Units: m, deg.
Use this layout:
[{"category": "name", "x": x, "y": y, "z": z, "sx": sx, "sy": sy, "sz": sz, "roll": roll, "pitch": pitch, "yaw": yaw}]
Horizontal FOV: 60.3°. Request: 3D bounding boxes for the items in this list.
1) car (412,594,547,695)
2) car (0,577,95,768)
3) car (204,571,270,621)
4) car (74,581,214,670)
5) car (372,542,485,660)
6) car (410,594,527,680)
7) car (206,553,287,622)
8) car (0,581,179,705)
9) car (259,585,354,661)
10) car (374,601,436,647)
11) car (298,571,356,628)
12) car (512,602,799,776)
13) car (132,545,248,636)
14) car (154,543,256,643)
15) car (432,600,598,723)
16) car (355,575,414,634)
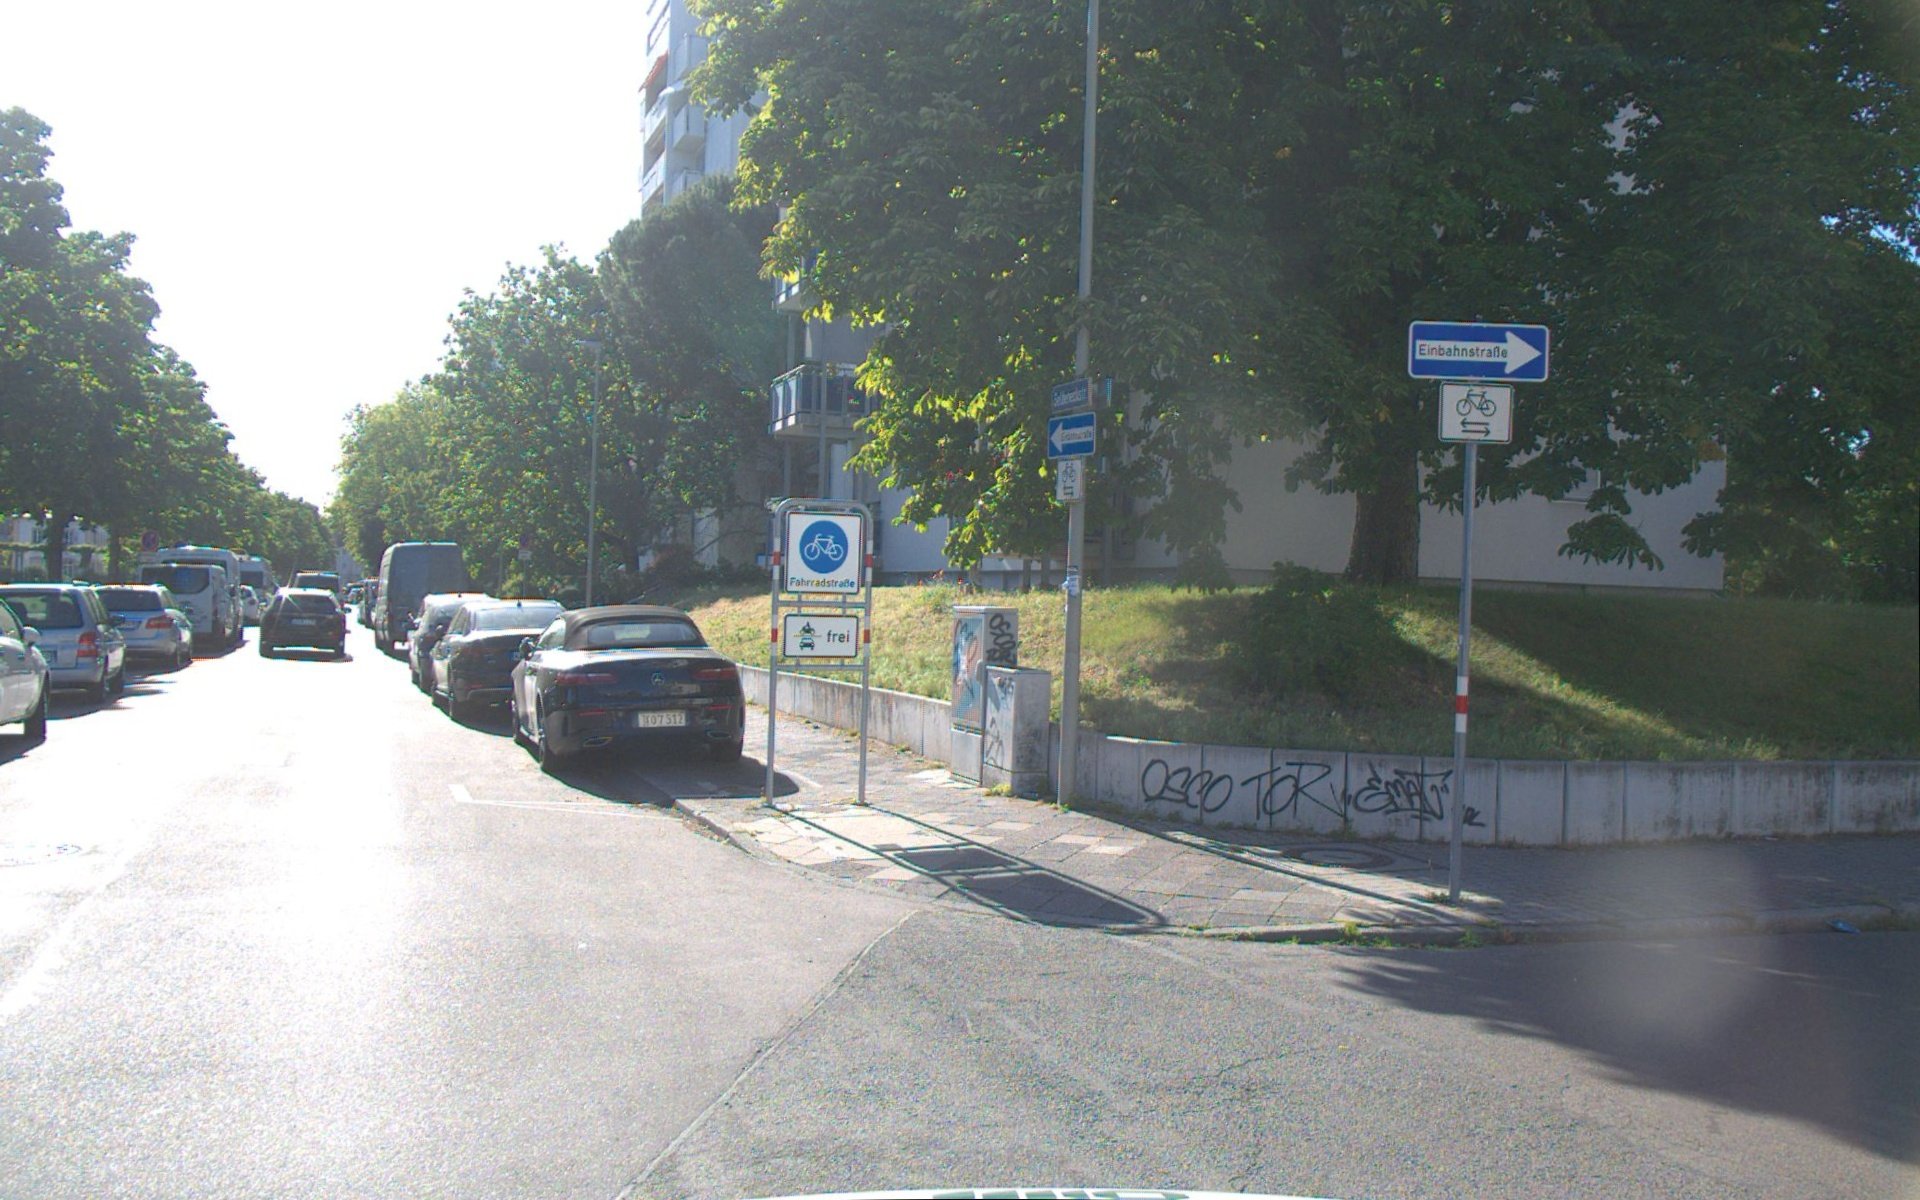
[{"category": "car", "x": -8.021, "y": 0.687, "z": 27.370, "sx": 1.754, "sy": 1.513, "sz": 4.005, "roll": 2, "pitch": 0, "yaw": -22}, {"category": "car", "x": -8.992, "y": 0.587, "z": 14.702, "sx": 1.750, "sy": 1.521, "sz": 3.853, "roll": 0, "pitch": 0, "yaw": -19}, {"category": "car", "x": -27.639, "y": -0.153, "z": 63.328, "sx": 1.980, "sy": 1.817, "sz": 4.103, "roll": 1, "pitch": 0, "yaw": -19}, {"category": "car", "x": -15.277, "y": 0.441, "z": 31.162, "sx": 1.806, "sy": 1.526, "sz": 4.103, "roll": 2, "pitch": 0, "yaw": -19}, {"category": "car", "x": -13.390, "y": 0.013, "z": 41.458, "sx": 2.134, "sy": 2.736, "sz": 5.377, "roll": 2, "pitch": 0, "yaw": -23}, {"category": "car", "x": -9.606, "y": 0.682, "z": 32.148, "sx": 1.959, "sy": 1.513, "sz": 4.103, "roll": 2, "pitch": 0, "yaw": -19}, {"category": "car", "x": -29.518, "y": -0.510, "z": 68.633, "sx": 2.577, "sy": 2.691, "sz": 6.080, "roll": 2, "pitch": 0, "yaw": -19}, {"category": "car", "x": -11.682, "y": 0.520, "z": 22.111, "sx": 1.753, "sy": 1.487, "sz": 4.103, "roll": 2, "pitch": 0, "yaw": -19}, {"category": "car", "x": -14.748, "y": 0.495, "z": 37.466, "sx": 1.753, "sy": 1.558, "sz": 3.978, "roll": 3, "pitch": -1, "yaw": -19}, {"category": "car", "x": -19.767, "y": 0.821, "z": 58.862, "sx": 1.959, "sy": 1.513, "sz": 4.103, "roll": 2, "pitch": 0, "yaw": -19}, {"category": "car", "x": -23.293, "y": -0.023, "z": 60.963, "sx": 1.866, "sy": 2.026, "sz": 3.988, "roll": 0, "pitch": 0, "yaw": -19}, {"category": "car", "x": -3.120, "y": 0.737, "z": 16.126, "sx": 2.093, "sy": 1.361, "sz": 4.480, "roll": -1, "pitch": 1, "yaw": -19}, {"category": "car", "x": -18.121, "y": -0.224, "z": 39.083, "sx": 2.068, "sy": 1.976, "sz": 4.102, "roll": 2, "pitch": 0, "yaw": -20}, {"category": "car", "x": -20.475, "y": -0.182, "z": 45.004, "sx": 2.067, "sy": 2.540, "sz": 4.103, "roll": 2, "pitch": 0, "yaw": -19}, {"category": "car", "x": -5.844, "y": 0.732, "z": 21.420, "sx": 1.753, "sy": 1.395, "sz": 4.103, "roll": 2, "pitch": 0, "yaw": -19}, {"category": "car", "x": -23.902, "y": 0.163, "z": 68.624, "sx": 2.132, "sy": 2.333, "sz": 5.233, "roll": 2, "pitch": 0, "yaw": -21}]
